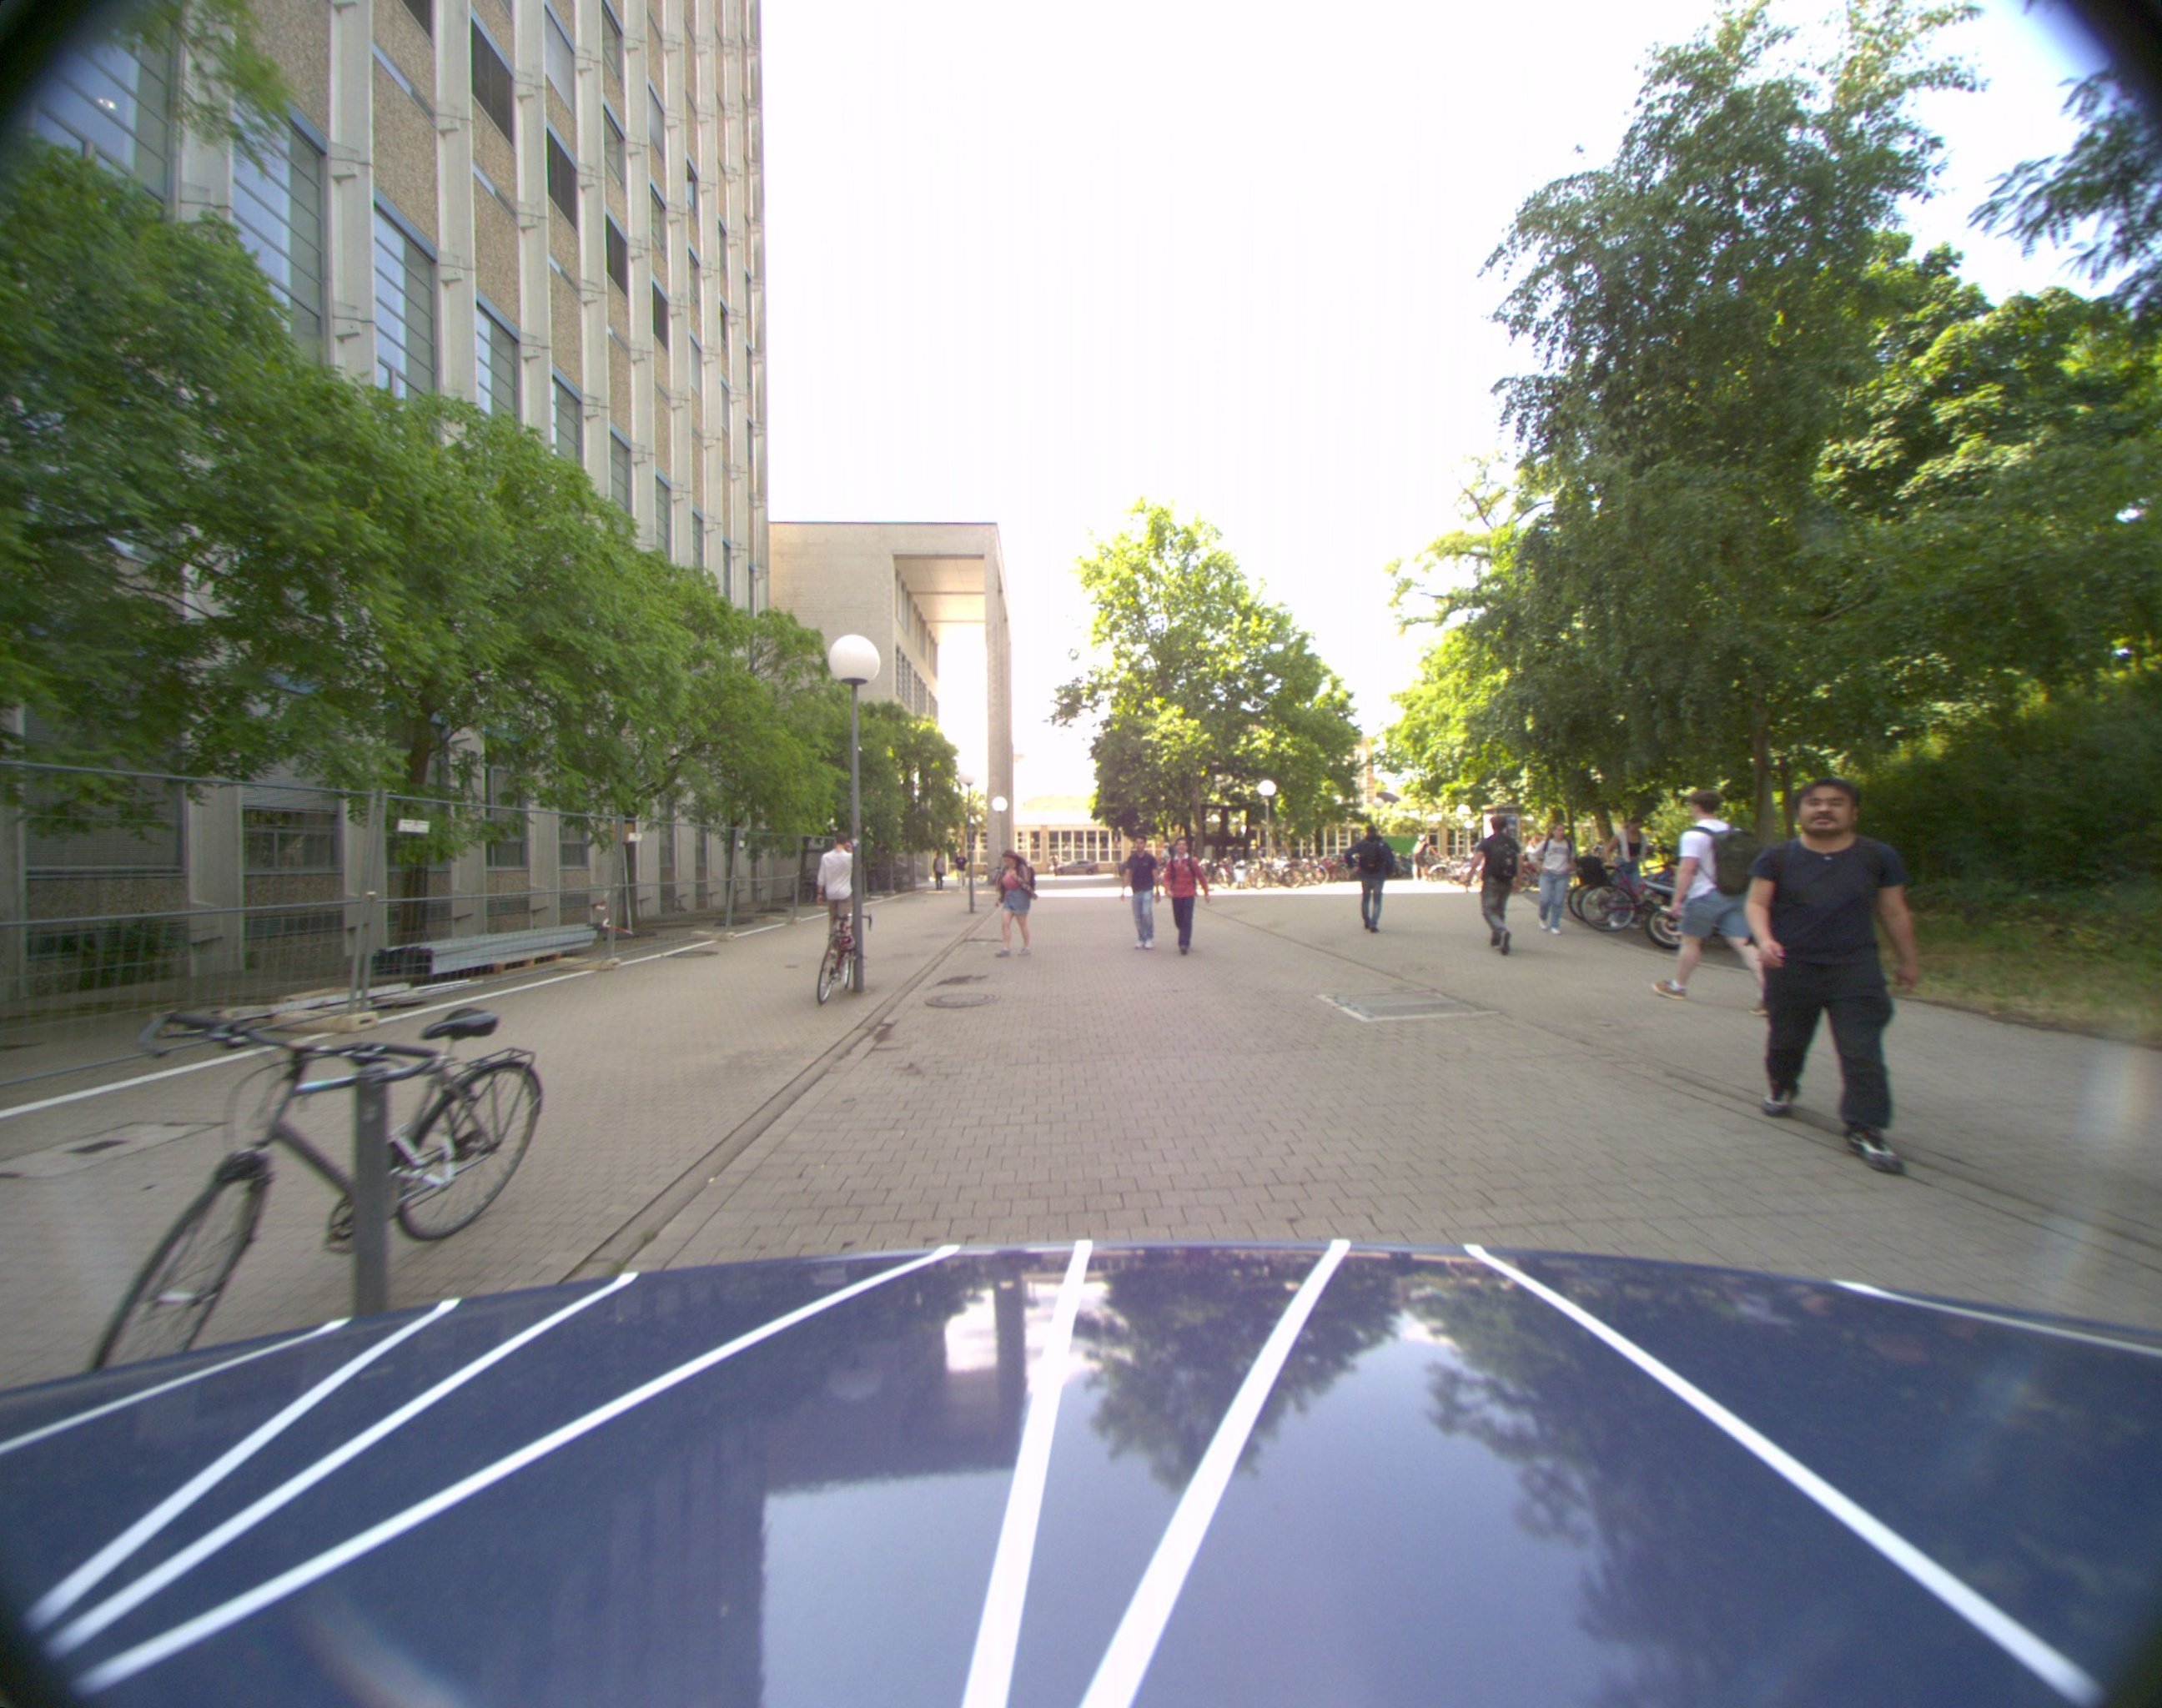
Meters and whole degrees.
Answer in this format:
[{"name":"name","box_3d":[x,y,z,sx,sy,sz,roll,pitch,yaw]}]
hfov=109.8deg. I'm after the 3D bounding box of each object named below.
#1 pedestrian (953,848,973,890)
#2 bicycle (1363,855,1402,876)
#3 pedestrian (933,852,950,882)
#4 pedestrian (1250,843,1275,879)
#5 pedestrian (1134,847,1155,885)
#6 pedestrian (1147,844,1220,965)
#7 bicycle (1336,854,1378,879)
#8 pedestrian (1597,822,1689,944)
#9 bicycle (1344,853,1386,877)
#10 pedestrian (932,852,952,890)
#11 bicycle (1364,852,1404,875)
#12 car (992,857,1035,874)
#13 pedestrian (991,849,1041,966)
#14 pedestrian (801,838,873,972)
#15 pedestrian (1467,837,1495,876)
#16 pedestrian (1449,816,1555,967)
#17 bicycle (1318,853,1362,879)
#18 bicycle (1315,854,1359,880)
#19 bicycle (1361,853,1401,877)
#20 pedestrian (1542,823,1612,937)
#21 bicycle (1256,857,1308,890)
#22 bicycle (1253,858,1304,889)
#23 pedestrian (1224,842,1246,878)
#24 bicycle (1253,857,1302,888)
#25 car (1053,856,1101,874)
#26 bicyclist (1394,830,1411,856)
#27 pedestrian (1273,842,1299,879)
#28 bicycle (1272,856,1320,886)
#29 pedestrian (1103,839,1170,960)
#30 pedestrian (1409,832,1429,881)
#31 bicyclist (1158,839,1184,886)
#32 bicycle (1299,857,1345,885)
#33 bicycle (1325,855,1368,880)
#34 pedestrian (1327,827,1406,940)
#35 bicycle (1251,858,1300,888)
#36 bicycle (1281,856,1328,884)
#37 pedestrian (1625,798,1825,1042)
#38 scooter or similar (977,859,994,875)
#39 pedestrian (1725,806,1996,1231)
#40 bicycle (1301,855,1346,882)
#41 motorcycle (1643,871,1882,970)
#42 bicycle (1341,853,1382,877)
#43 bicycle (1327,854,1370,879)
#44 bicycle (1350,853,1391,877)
[{"name":"pedestrian","box_3d":[-5.169,0.659,33.335,0.703,1.792,0.881,0,0,-20]},{"name":"bicycle","box_3d":[14.572,0.552,36.751,0.453,0.956,1.735,-2,1,-41]},{"name":"pedestrian","box_3d":[-8.697,0.792,47.350,0.960,1.803,0.769,-2,1,-12]},{"name":"pedestrian","box_3d":[8.600,0.328,35.978,0.904,1.693,0.771,-1,1,35]},{"name":"pedestrian","box_3d":[2.862,0.534,33.989,0.768,1.670,0.908,0,0,16]},{"name":"pedestrian","box_3d":[1.557,0.722,11.431,0.717,1.714,1.067,0,0,31]},{"name":"bicycle","box_3d":[12.314,0.551,33.886,1.695,1.077,0.475,-1,1,33]},{"name":"pedestrian","box_3d":[8.286,0.409,11.218,0.679,1.714,0.935,0,0,-38]},{"name":"bicycle","box_3d":[12.960,0.505,34.712,1.695,1.077,0.475,-1,1,33]},{"name":"pedestrian","box_3d":[-6.104,0.742,33.293,0.703,1.645,0.881,0,0,-20]},{"name":"bicycle","box_3d":[14.362,0.447,36.025,1.695,1.077,0.475,-1,1,40]},{"name":"car","box_3d":[-6.005,1.028,68.160,3.777,1.468,1.652,0,2,-2]},{"name":"pedestrian","box_3d":[-0.994,0.794,11.704,0.686,1.714,0.731,-2,1,-4]},{"name":"pedestrian","box_3d":[-3.585,0.703,11.128,0.787,1.834,1.115,-2,1,-26]},{"name":"pedestrian","box_3d":[18.684,0.107,35.477,0.884,1.804,0.832,-2,1,-39]},{"name":"pedestrian","box_3d":[5.523,0.458,10.031,0.684,1.862,1.120,-2,1,-6]},{"name":"bicycle","box_3d":[11.112,0.529,32.640,1.695,1.077,0.475,-1,1,33]},{"name":"bicycle","box_3d":[10.823,0.553,32.184,1.695,1.077,0.475,-1,1,33]},{"name":"bicycle","box_3d":[14.041,0.509,35.599,1.695,1.077,0.475,-1,1,40]},{"name":"pedestrian","box_3d":[7.801,0.394,11.954,0.687,1.714,0.729,0,0,-38]},{"name":"bicycle","box_3d":[6.966,0.681,26.426,1.697,1.104,0.474,-1,1,10]},{"name":"bicycle","box_3d":[6.976,0.690,26.948,1.721,1.077,0.474,-1,1,13]},{"name":"pedestrian","box_3d":[7.850,0.314,38.655,0.771,1.796,0.708,-2,1,-35]},{"name":"bicycle","box_3d":[7.104,0.675,27.492,1.696,1.077,0.475,-1,1,17]},{"name":"car","box_3d":[-0.376,0.956,68.539,4.209,1.468,1.652,-1,2,-2]},{"name":"bicyclist","box_3d":[24.117,-0.833,56.909,0.865,1.881,0.806,-2,4,42]},{"name":"pedestrian","box_3d":[9.606,0.319,35.555,0.904,1.693,0.771,-1,1,38]},{"name":"bicycle","box_3d":[8.125,0.636,28.782,1.695,1.077,0.475,-1,1,39]},{"name":"pedestrian","box_3d":[0.896,0.695,12.077,0.684,1.824,0.943,0,0,32]},{"name":"pedestrian","box_3d":[12.887,0.077,28.960,0.612,1.825,1.052,0,1,29]},{"name":"bicyclist","box_3d":[2.994,0.282,25.261,0.720,1.559,0.596,-1,1,16]},{"name":"bicycle","box_3d":[9.652,0.669,30.481,1.695,1.077,0.475,-1,1,36]},{"name":"bicycle","box_3d":[11.575,0.579,33.165,1.695,1.077,0.475,-1,1,33]},{"name":"pedestrian","box_3d":[4.903,0.478,13.015,0.886,1.847,1.034,-1,1,44]},{"name":"bicycle","box_3d":[7.188,0.694,28.038,1.696,1.077,0.475,-1,1,17]},{"name":"bicycle","box_3d":[8.728,0.616,29.763,1.695,1.077,0.475,-1,1,39]},{"name":"pedestrian","box_3d":[5.377,0.503,6.416,0.726,1.871,1.081,-2,1,-6]},{"name":"scooter or similar","box_3d":[-7.119,0.950,56.527,1.157,1.144,0.444,0,0,2]},{"name":"pedestrian","box_3d":[3.610,0.664,3.616,0.684,1.714,0.906,-1,1,32]},{"name":"bicycle","box_3d":[10.045,0.591,31.443,1.695,1.077,0.475,-1,1,33]},{"name":"motorcycle","box_3d":[7.909,0.751,8.942,2.020,1.041,0.475,-3,0,41]},{"name":"bicycle","box_3d":[12.656,0.505,34.302,1.695,1.077,0.475,-1,1,33]},{"name":"bicycle","box_3d":[11.827,0.543,33.574,1.695,1.077,0.475,-1,1,33]},{"name":"bicycle","box_3d":[13.392,0.529,35.148,1.695,1.077,0.475,-1,1,33]}]
